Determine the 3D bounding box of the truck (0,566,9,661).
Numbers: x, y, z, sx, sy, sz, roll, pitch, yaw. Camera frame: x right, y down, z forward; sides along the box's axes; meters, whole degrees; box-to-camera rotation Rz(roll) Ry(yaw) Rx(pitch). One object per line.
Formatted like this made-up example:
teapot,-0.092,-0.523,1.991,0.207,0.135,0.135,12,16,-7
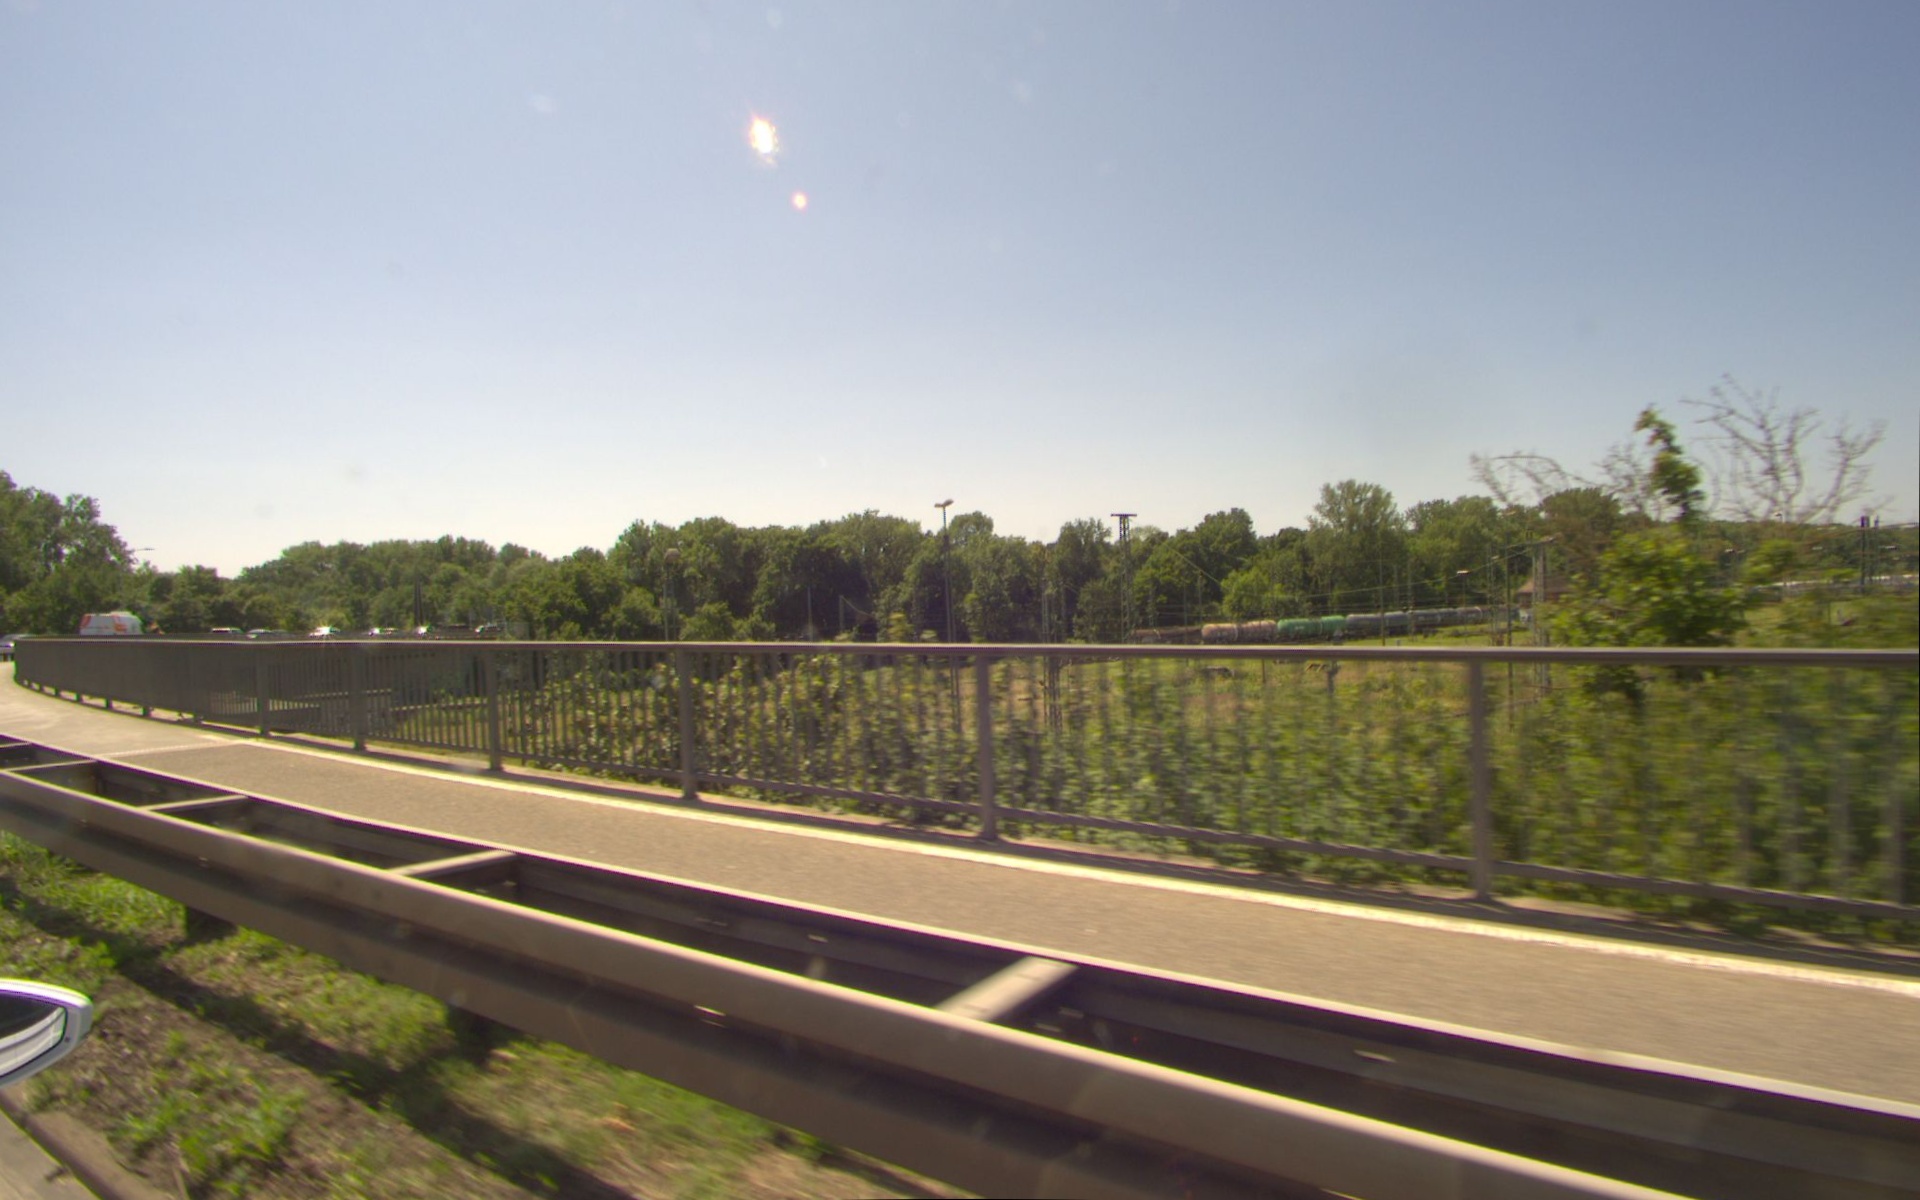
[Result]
truck,-46.891,0.564,46.162,3.139,4.643,7.351,0,-2,-34

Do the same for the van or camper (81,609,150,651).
van or camper,-58.198,2.024,69.160,2.176,2.746,5.903,0,-1,-26

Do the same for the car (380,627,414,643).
car,-67.212,4.202,119.599,1.858,1.873,4.002,0,-2,1

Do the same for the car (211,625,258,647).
car,-62.906,3.115,86.890,1.860,1.873,3.998,0,-2,-12

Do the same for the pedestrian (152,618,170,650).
pedestrian,-50.715,2.153,63.530,0.728,1.992,0.731,0,-1,-26
